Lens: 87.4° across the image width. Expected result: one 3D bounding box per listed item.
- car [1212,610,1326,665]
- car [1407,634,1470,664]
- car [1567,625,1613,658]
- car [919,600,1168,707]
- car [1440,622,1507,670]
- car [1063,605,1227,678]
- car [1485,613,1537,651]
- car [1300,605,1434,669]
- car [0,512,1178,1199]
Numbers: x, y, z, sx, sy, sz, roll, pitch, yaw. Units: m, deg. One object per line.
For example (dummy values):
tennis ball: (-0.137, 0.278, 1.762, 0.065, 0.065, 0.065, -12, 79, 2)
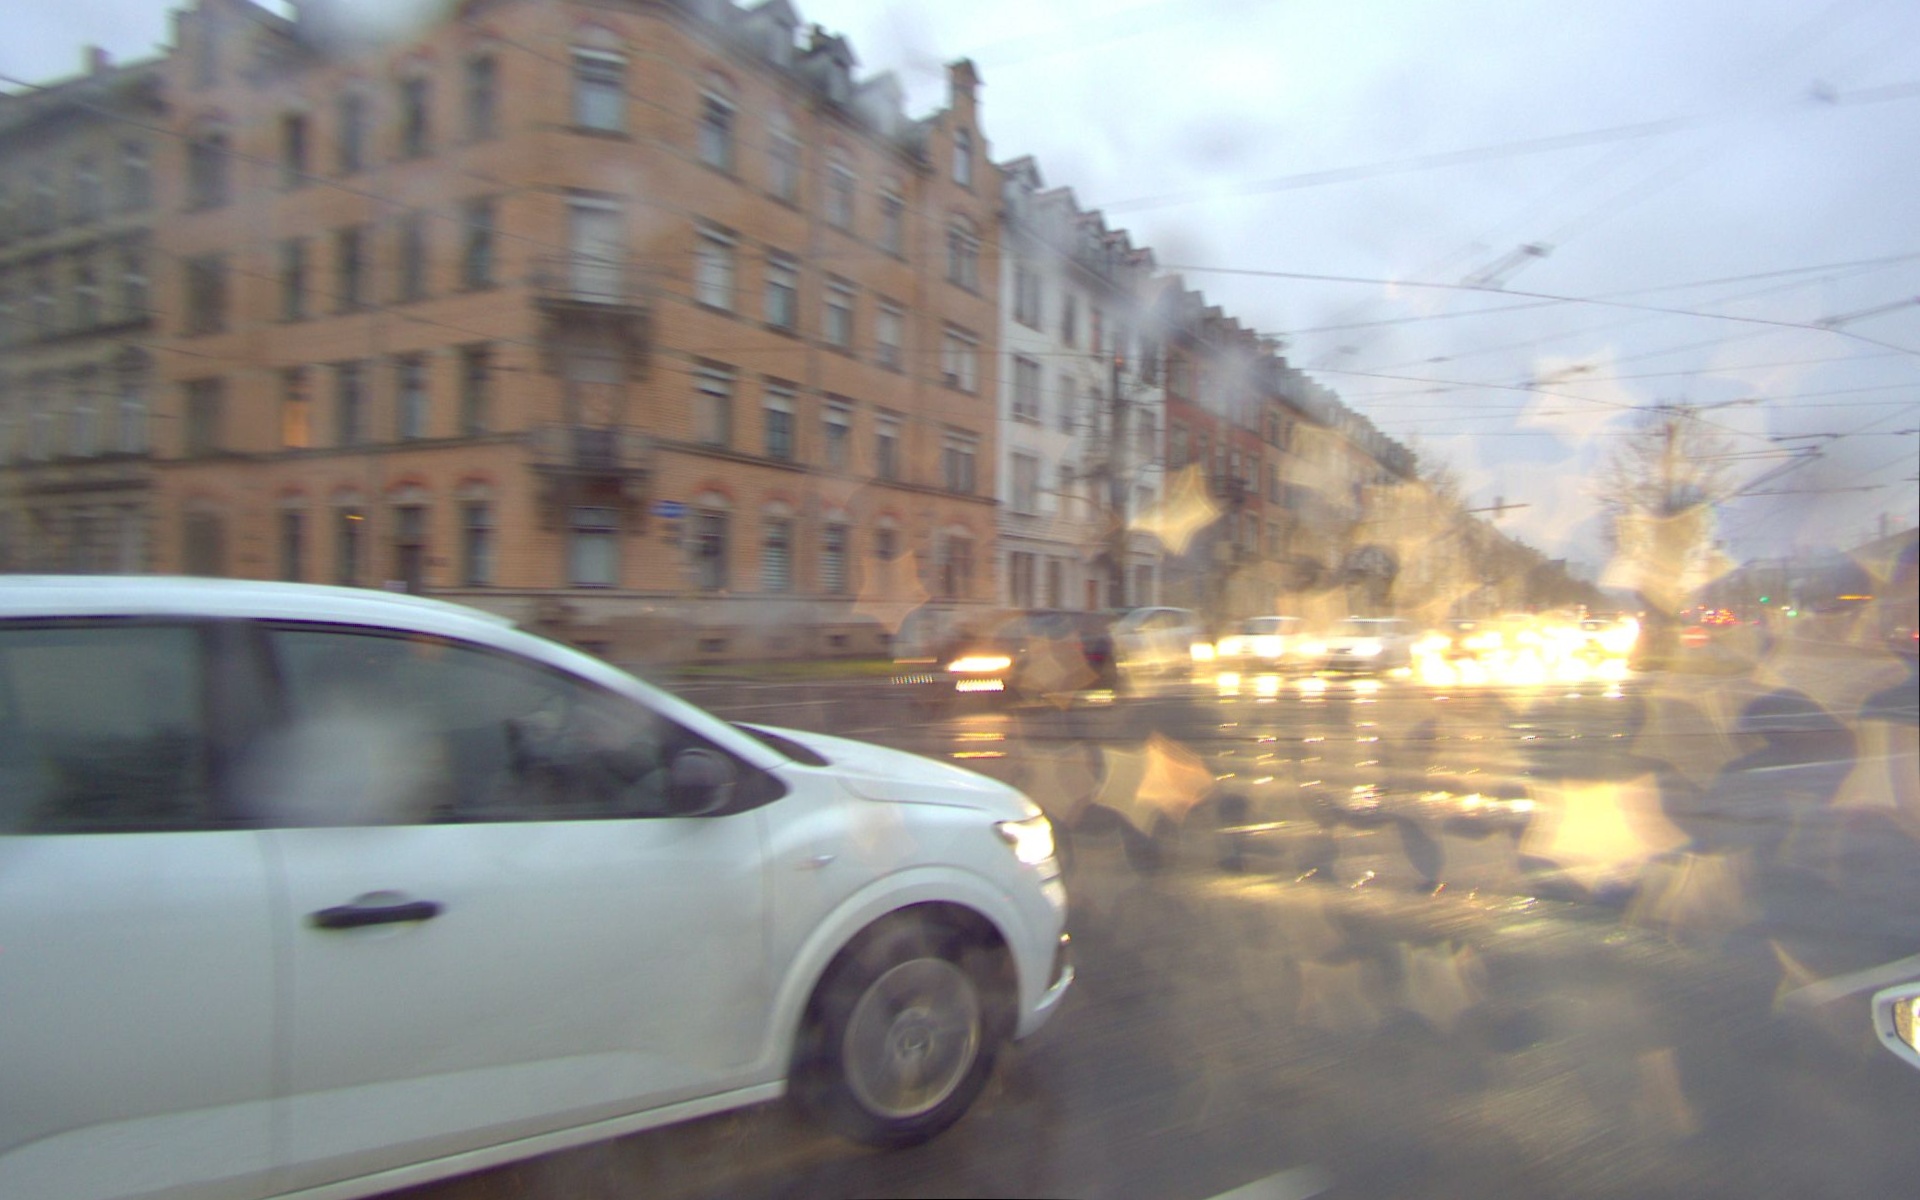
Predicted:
car: (8.622, 0.993, 27.896, 1.661, 1.410, 3.594, 0, -1, 42)
car: (20.468, 2.065, 42.904, 1.581, 1.149, 3.772, 0, -1, 39)
car: (26.677, 1.701, 42.487, 1.515, 1.262, 4.075, 0, 0, 34)
car: (1.422, 0.779, 15.998, 4.032, 1.477, 1.665, 1, -1, -42)
car: (17.610, 1.536, 34.401, 1.469, 1.506, 3.140, 1, 0, 38)
car: (4.401, 0.919, 23.453, 4.200, 1.545, 1.663, 1, -1, -45)
car: (24.242, 1.377, 44.129, 1.657, 1.574, 4.110, 1, 0, 33)
car: (10.324, 0.889, 25.299, 1.662, 1.477, 4.309, 0, -1, 44)
car: (-1.414, 0.607, 2.780, 3.955, 1.507, 1.618, 0, 0, -32)
